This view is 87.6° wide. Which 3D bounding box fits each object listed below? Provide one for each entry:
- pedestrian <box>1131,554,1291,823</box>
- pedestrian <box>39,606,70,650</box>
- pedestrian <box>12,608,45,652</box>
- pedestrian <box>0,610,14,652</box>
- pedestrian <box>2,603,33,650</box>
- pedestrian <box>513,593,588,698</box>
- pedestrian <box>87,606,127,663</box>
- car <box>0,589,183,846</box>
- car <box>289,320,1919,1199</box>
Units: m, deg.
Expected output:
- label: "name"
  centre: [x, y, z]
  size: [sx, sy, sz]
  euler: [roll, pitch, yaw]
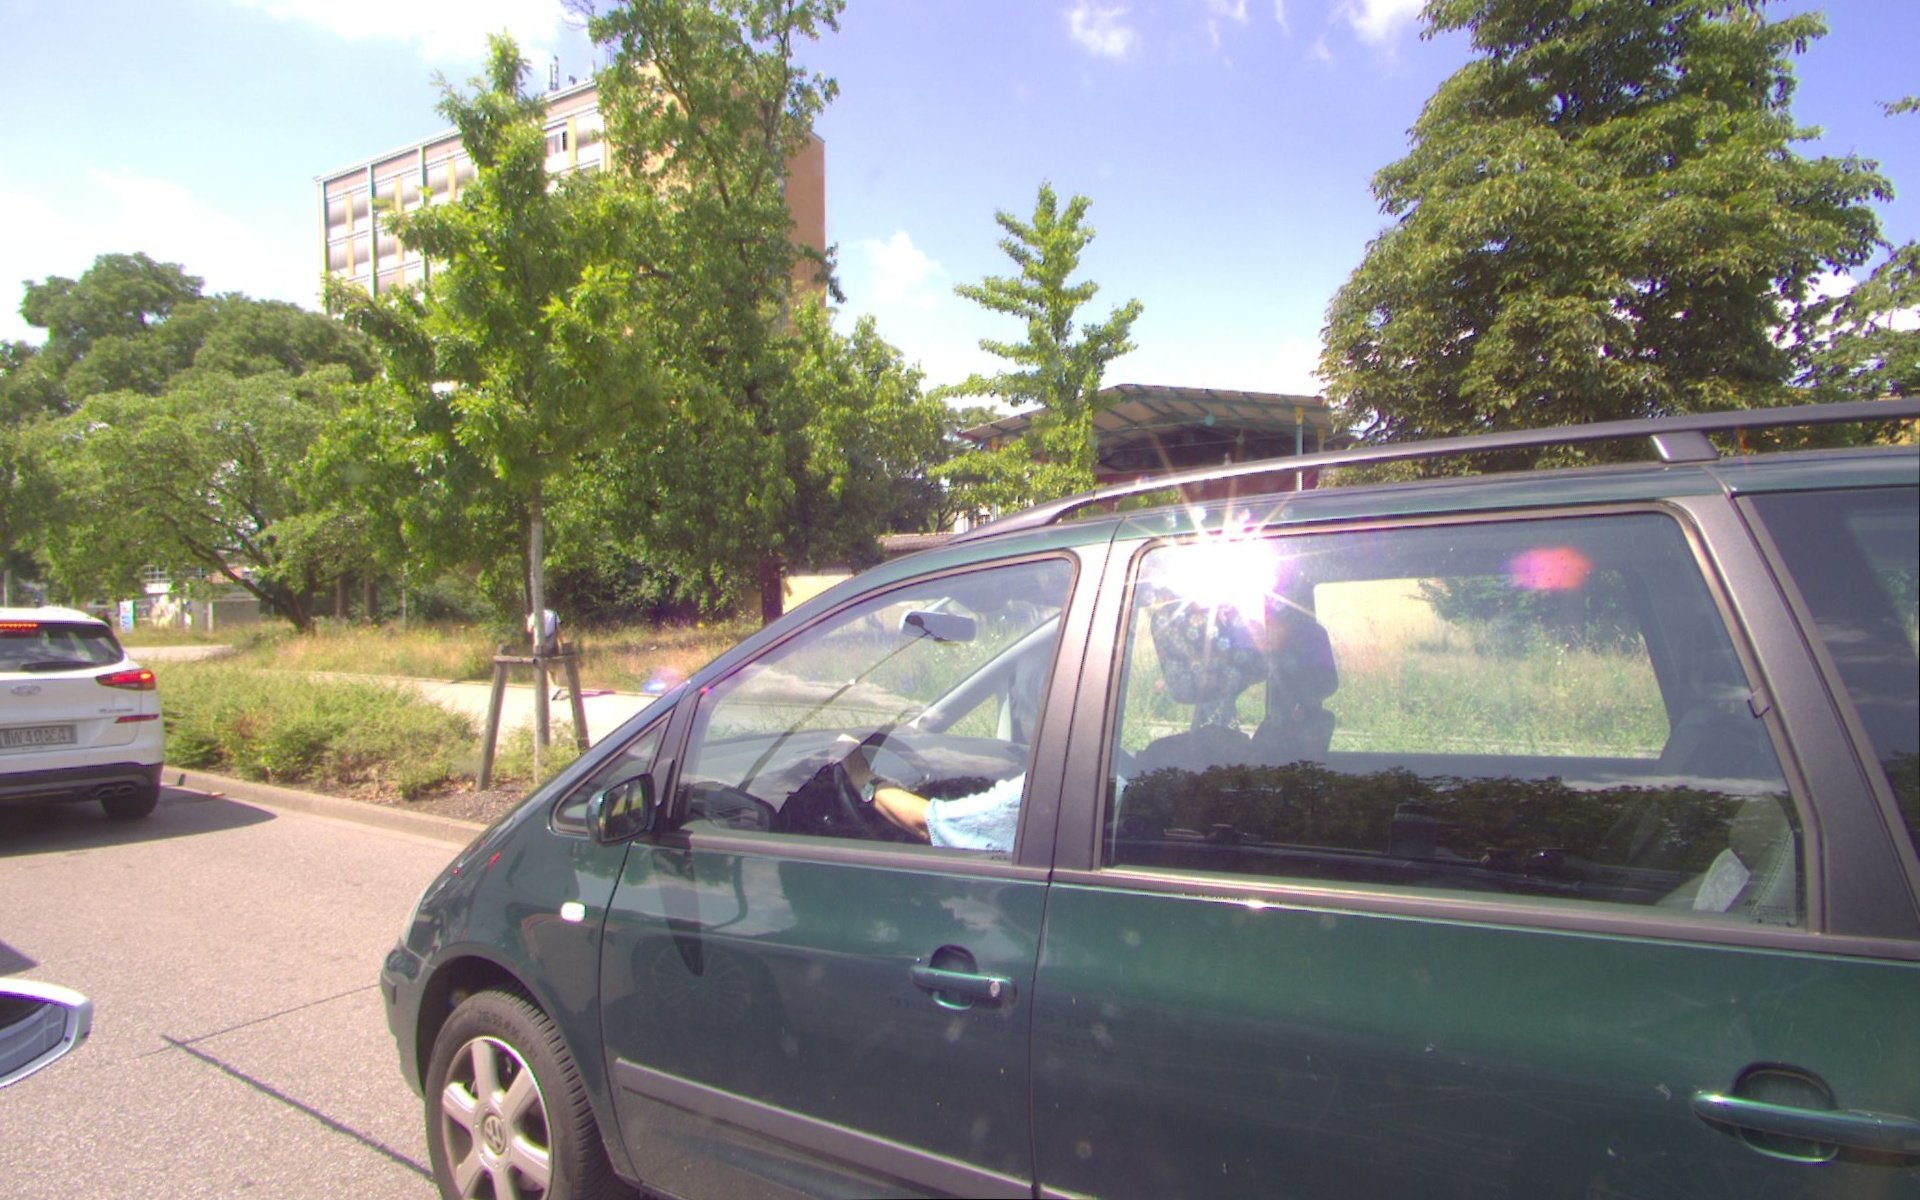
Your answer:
- label: "pedestrian"
  centre: [1.726, 0.565, 6.890]
  size: [0.807, 1.706, 0.754]
  euler: [0, 1, 44]
- label: "pedestrian"
  centre: [-39.708, 1.218, 43.903]
  size: [0.803, 1.874, 0.759]
  euler: [0, 1, 24]
- label: "pedestrian"
  centre: [-40.143, 1.280, 43.161]
  size: [0.802, 1.874, 0.759]
  euler: [0, 1, 22]
- label: "pedestrian"
  centre: [-43.160, 1.394, 44.962]
  size: [0.803, 1.874, 0.758]
  euler: [0, 1, 29]
- label: "pedestrian"
  centre: [-36.542, 1.025, 38.808]
  size: [0.806, 1.813, 0.756]
  euler: [0, 0, 37]
- label: "pedestrian"
  centre: [-6.348, 0.683, 15.542]
  size: [0.805, 1.578, 0.757]
  euler: [0, 1, 33]
- label: "pedestrian"
  centre: [-25.796, 1.035, 30.290]
  size: [0.805, 1.677, 0.756]
  euler: [0, 1, 36]
- label: "car"
  centre: [-7.905, 0.786, 7.799]
  size: [3.919, 1.700, 1.810]
  euler: [0, 0, 34]
- label: "car"
  centre: [0.542, 0.634, 2.270]
  size: [4.329, 1.737, 1.799]
  euler: [0, -2, 32]
